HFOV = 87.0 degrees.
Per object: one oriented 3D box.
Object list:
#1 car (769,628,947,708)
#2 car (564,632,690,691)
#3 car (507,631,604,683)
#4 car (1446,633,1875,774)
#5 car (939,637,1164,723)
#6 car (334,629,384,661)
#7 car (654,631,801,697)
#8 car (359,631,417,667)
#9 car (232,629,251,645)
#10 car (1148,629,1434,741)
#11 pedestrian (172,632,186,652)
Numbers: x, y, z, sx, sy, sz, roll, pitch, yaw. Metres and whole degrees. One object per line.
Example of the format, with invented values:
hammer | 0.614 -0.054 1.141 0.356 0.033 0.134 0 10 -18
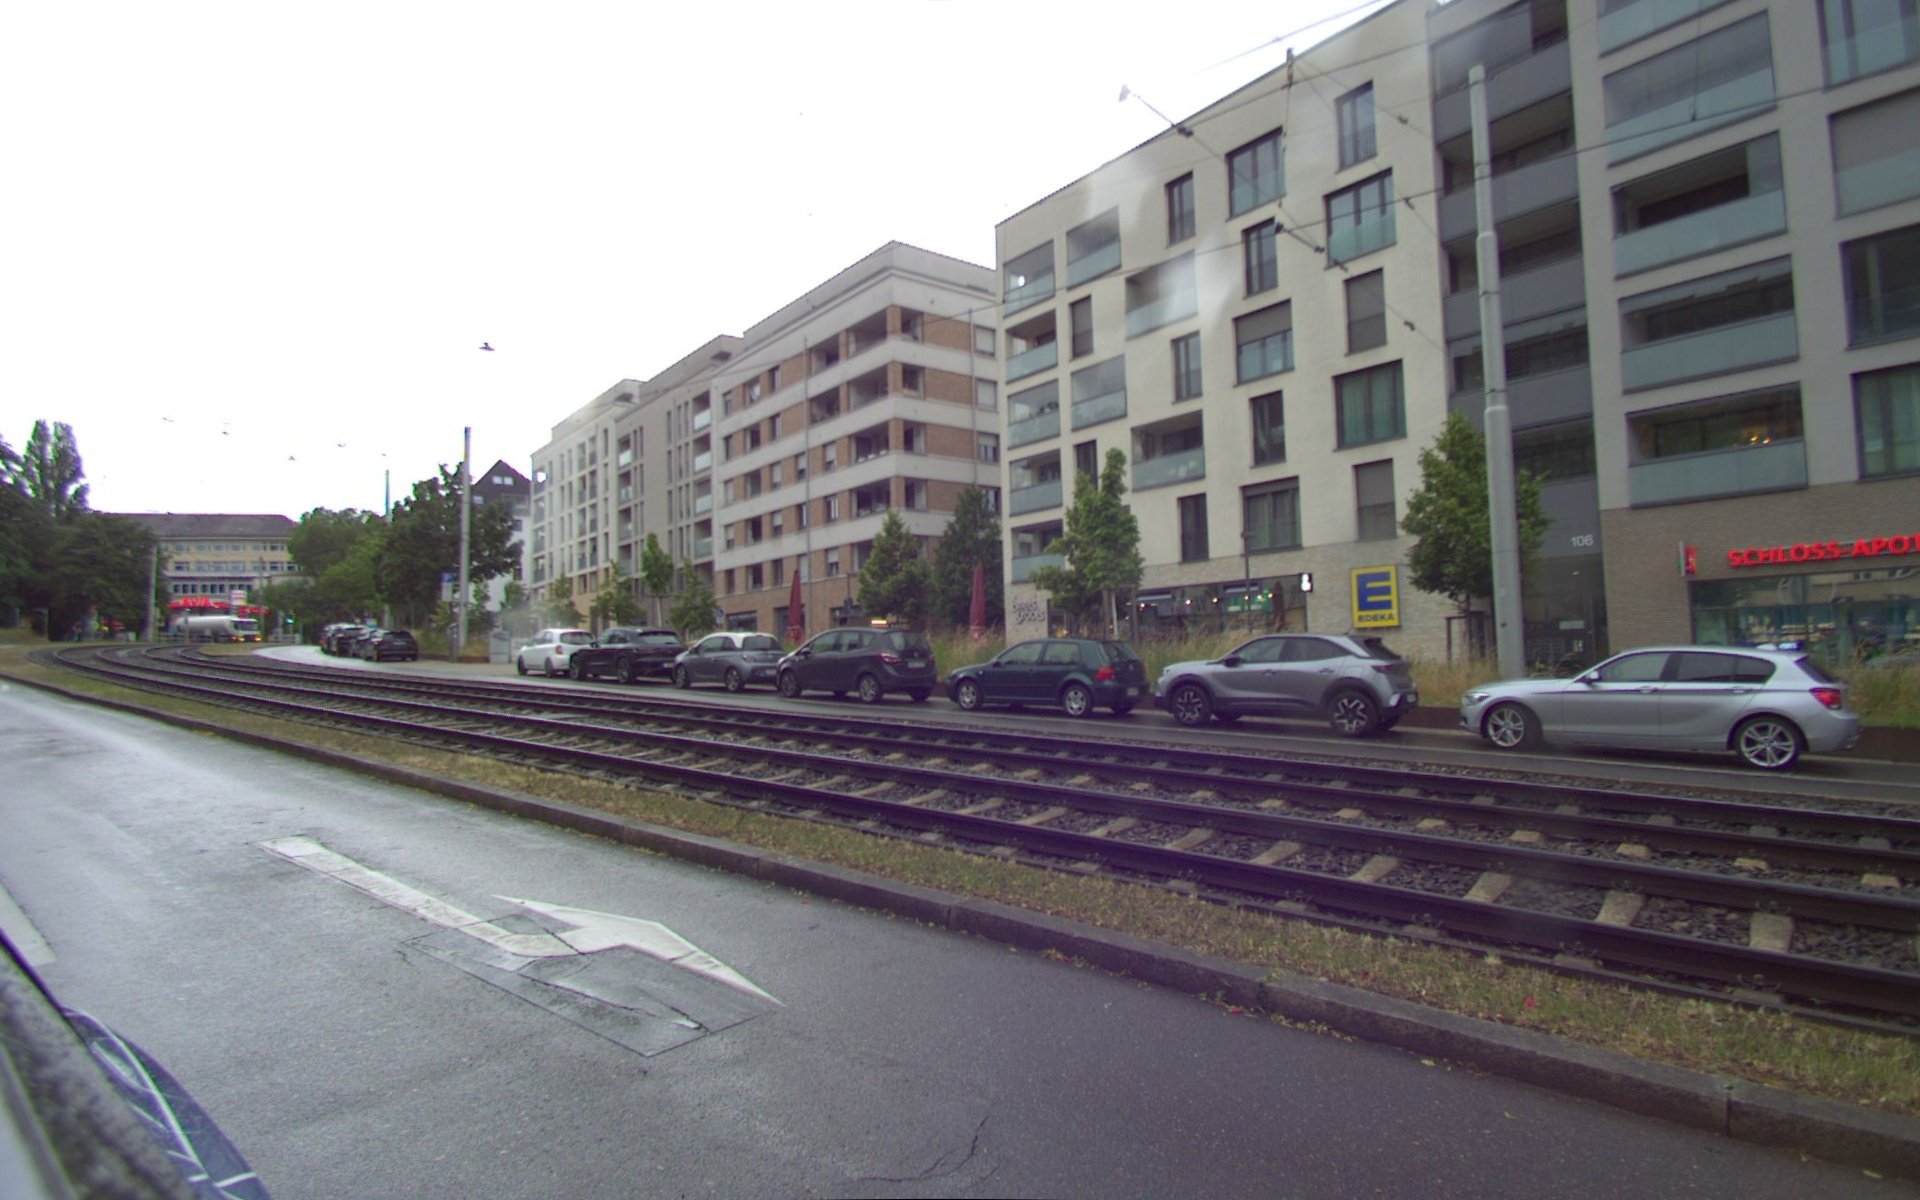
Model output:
car | -2.304 1.412 22.268 3.926 1.575 1.663 -1 -1 40
car | -9.605 1.695 29.026 1.660 1.516 4.408 0 -1 -44
car | -13.080 1.792 32.634 1.627 1.516 3.784 0 -1 -44
car | 8.818 1.186 13.055 4.326 1.475 1.663 -1 -1 40
car | 1.650 1.423 19.127 4.030 1.391 1.663 -1 -1 40
car | -31.381 2.322 52.797 1.630 1.475 3.676 -1 0 -40
car | -6.010 1.577 25.938 3.926 1.516 1.663 -1 -1 40
car | -26.367 2.213 46.584 1.630 1.475 3.676 -1 0 -40
car | -81.441 4.210 114.707 1.641 1.619 3.818 -1 0 -34
car | 5.214 1.255 16.170 4.042 1.541 1.665 -1 -1 36
pedestrian | -71.248 3.815 92.333 0.736 1.777 0.821 3 -4 -27
